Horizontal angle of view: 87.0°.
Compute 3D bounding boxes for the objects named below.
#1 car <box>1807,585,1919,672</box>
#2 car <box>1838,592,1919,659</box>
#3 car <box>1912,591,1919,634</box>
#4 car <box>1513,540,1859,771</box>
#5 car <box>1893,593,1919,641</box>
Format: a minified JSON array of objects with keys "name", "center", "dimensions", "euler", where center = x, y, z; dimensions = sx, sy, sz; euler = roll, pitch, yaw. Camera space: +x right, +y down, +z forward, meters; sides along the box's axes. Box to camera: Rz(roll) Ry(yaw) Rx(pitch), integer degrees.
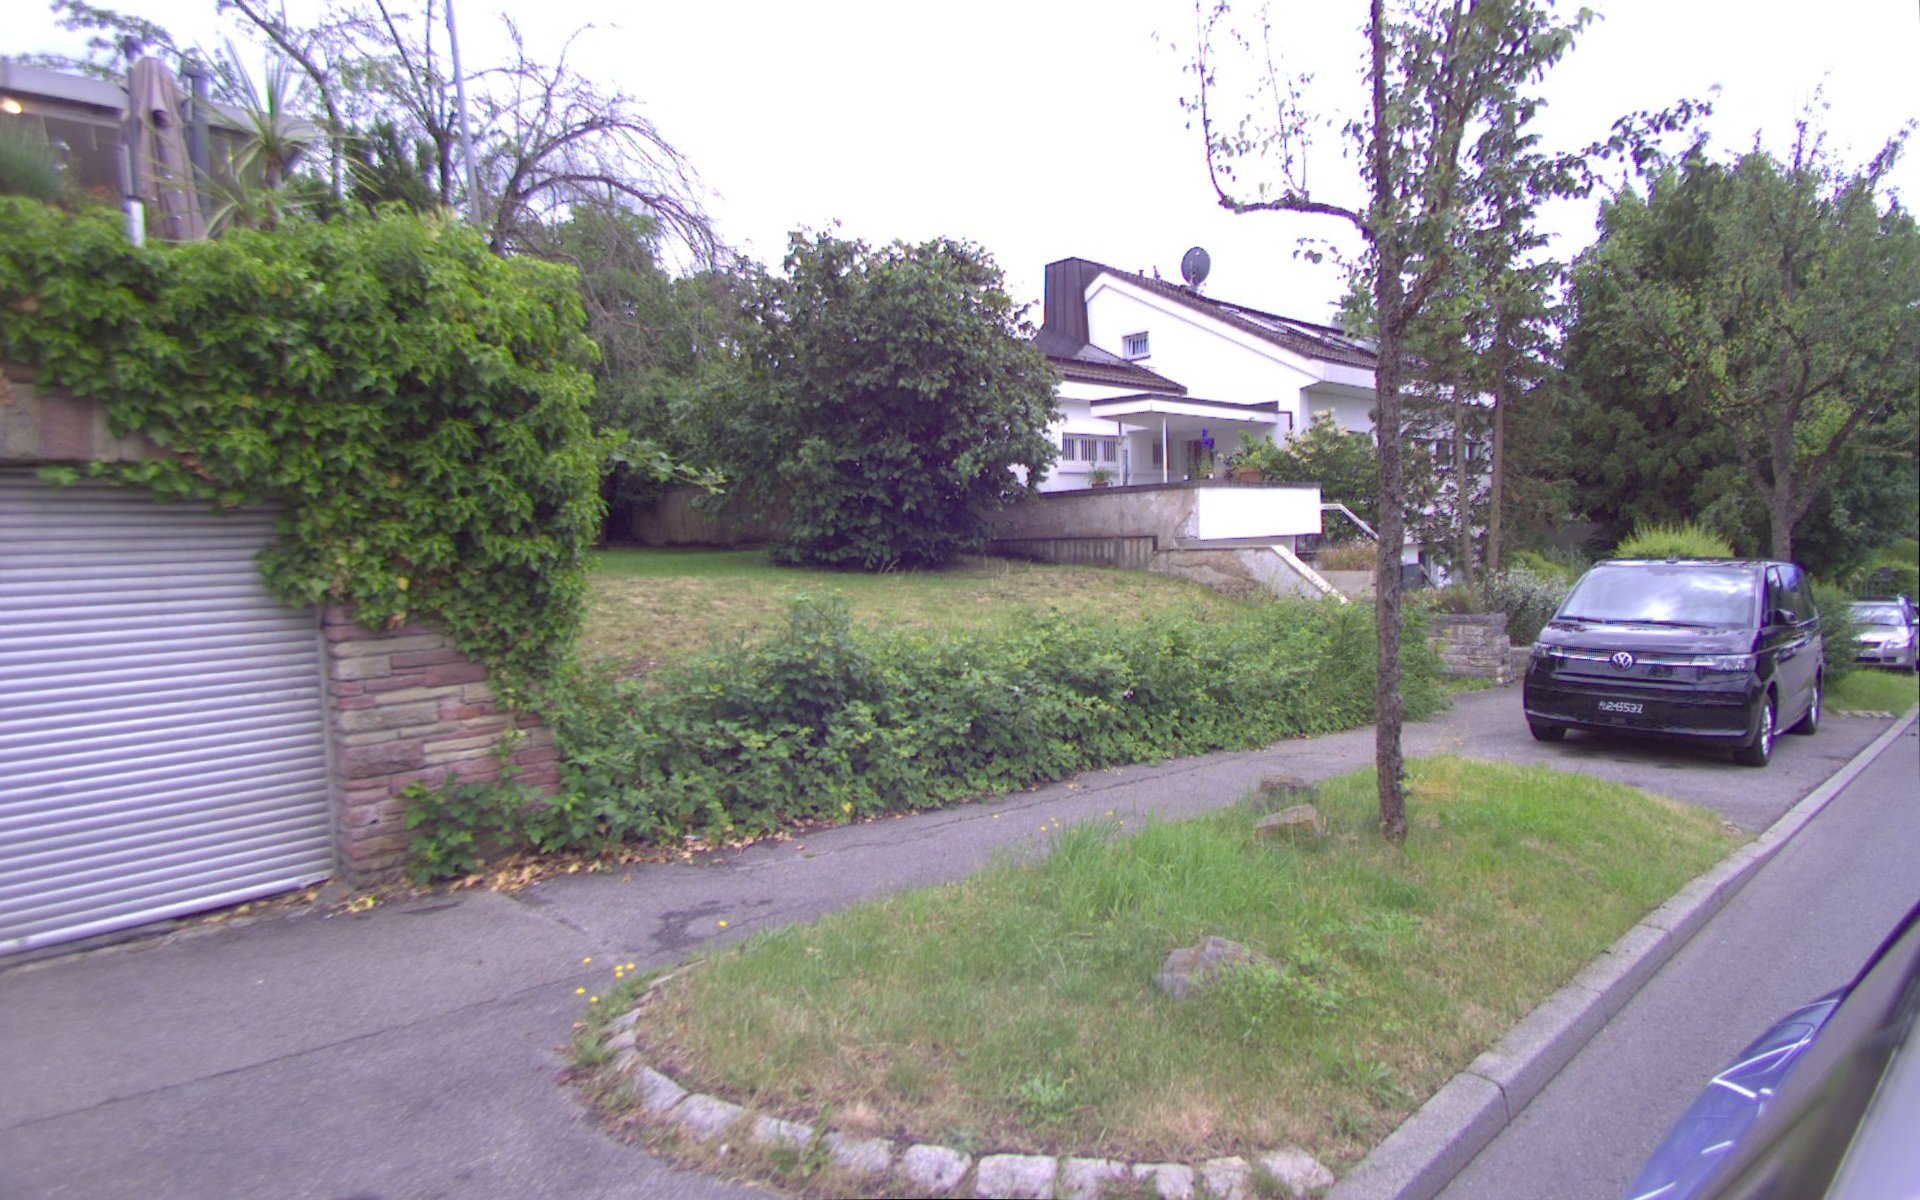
[{"name":"car","center":[19.133,0.533,21.149],"dimensions":[3.862,1.653,1.718],"euler":[0,0,-43]},{"name":"car","center":[24.048,0.611,25.739],"dimensions":[4.918,1.510,1.997],"euler":[0,2,-42]},{"name":"car","center":[38.665,0.521,39.512],"dimensions":[2.000,1.628,4.685],"euler":[3,2,42]},{"name":"car","center":[7.779,0.407,10.594],"dimensions":[5.130,1.860,1.939],"euler":[0,2,-43]},{"name":"car","center":[31.782,0.531,32.986],"dimensions":[4.089,1.527,1.699],"euler":[0,0,-43]}]
